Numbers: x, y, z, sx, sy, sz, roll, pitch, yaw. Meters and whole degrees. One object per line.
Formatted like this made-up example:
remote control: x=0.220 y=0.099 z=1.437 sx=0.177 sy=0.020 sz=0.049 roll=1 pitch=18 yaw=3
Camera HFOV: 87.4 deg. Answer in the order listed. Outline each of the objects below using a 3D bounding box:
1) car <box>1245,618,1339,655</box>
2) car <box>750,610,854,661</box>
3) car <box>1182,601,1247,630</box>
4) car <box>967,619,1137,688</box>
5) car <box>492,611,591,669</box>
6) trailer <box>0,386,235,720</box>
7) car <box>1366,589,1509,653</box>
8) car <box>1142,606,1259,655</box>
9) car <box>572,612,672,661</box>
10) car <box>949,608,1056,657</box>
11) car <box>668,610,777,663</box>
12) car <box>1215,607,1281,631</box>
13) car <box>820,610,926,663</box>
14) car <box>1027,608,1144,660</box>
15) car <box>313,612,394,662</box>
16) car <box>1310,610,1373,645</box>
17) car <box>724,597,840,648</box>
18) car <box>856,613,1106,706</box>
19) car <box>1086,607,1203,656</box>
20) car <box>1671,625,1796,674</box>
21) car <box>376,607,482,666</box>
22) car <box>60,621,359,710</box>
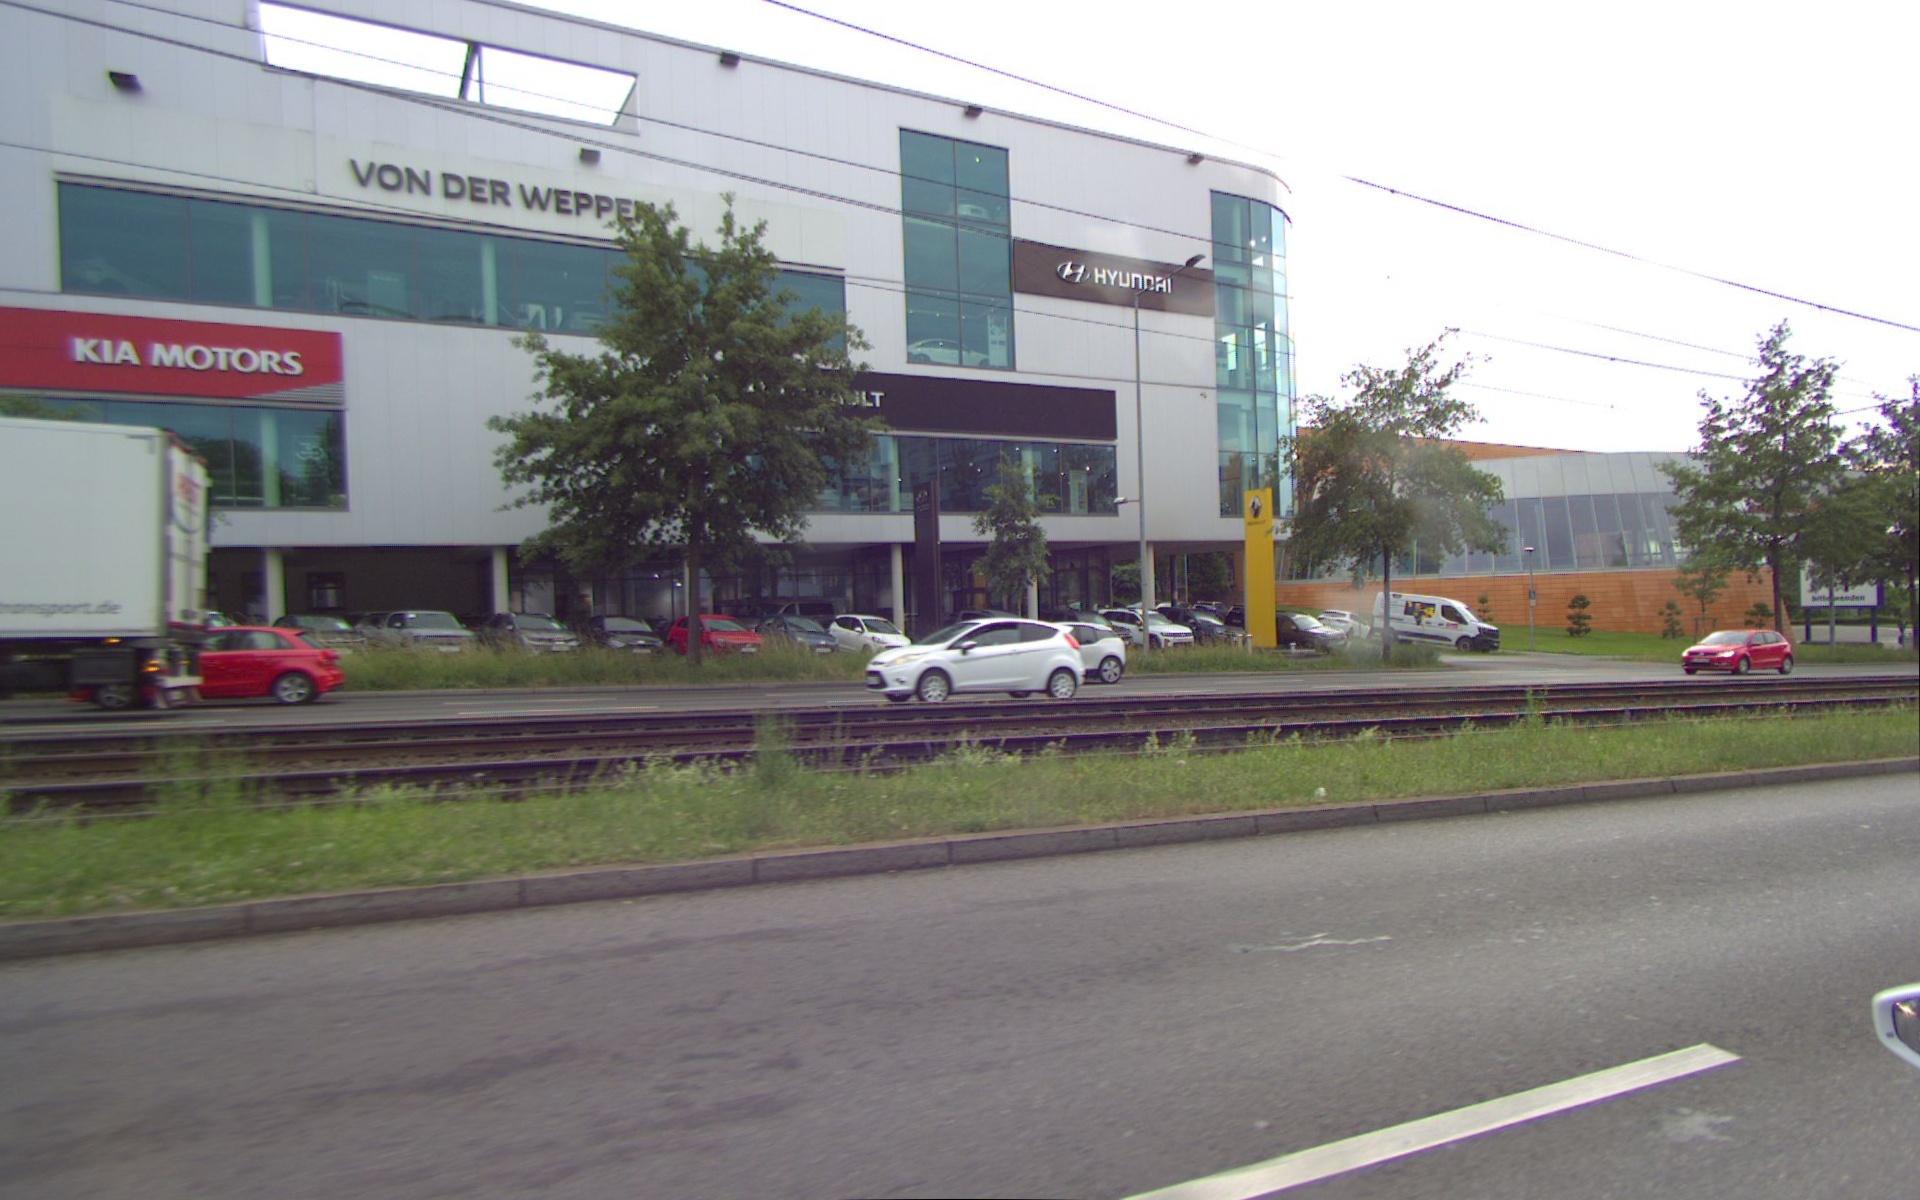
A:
car: x=13.744 y=1.474 z=41.757 sx=1.562 sy=1.409 sz=3.627 roll=0 pitch=0 yaw=-30
car: x=-5.319 y=1.130 z=33.383 sx=1.902 sy=1.370 sz=4.007 roll=1 pitch=2 yaw=-34
car: x=15.026 y=0.909 z=59.234 sx=3.974 sy=1.653 sz=1.973 roll=1 pitch=0 yaw=-45
car: x=2.368 y=1.331 z=25.677 sx=4.047 sy=1.602 sz=1.677 roll=1 pitch=0 yaw=-27
car: x=-12.270 y=1.119 z=29.353 sx=1.685 sy=1.370 sz=3.484 roll=1 pitch=2 yaw=-40
trailer: x=-17.269 y=-0.607 z=12.352 sx=13.115 sy=4.385 sz=3.122 roll=1 pitch=-4 yaw=-28
car: x=22.483 y=0.935 z=47.531 sx=2.387 sy=2.616 sz=5.556 roll=1 pitch=2 yaw=-41
car: x=9.624 y=1.192 z=40.487 sx=1.979 sy=1.637 sz=4.333 roll=1 pitch=2 yaw=-34
car: x=-10.243 y=1.056 z=30.338 sx=1.685 sy=1.198 sz=3.484 roll=1 pitch=2 yaw=-40
car: x=1.490 y=1.157 z=36.624 sx=1.912 sy=1.479 sz=3.983 roll=1 pitch=2 yaw=-34
car: x=-7.568 y=1.106 z=31.846 sx=1.785 sy=1.370 sz=3.887 roll=1 pitch=2 yaw=-40
car: x=16.506 y=1.084 z=57.493 sx=3.974 sy=1.297 sz=1.973 roll=1 pitch=0 yaw=-45
car: x=-3.037 y=1.206 z=34.383 sx=1.902 sy=1.479 sz=4.007 roll=1 pitch=2 yaw=-34
car: x=4.616 y=1.217 z=37.541 sx=1.979 sy=1.571 sz=4.333 roll=1 pitch=2 yaw=-34
car: x=-16.238 y=0.952 z=26.846 sx=1.386 sy=1.209 sz=3.131 roll=1 pitch=0 yaw=-40
car: x=19.674 y=1.390 z=51.692 sx=1.706 sy=1.688 sz=3.727 roll=1 pitch=0 yaw=44
car: x=-6.726 y=0.814 z=38.448 sx=1.964 sy=1.806 sz=4.539 roll=1 pitch=0 yaw=29
car: x=0.381 y=1.007 z=17.495 sx=4.045 sy=1.455 sz=1.679 roll=1 pitch=-2 yaw=-26
car: x=7.123 y=1.182 z=39.132 sx=1.979 sy=1.571 sz=4.333 roll=1 pitch=2 yaw=-34
car: x=25.117 y=1.595 z=32.616 sx=4.047 sy=1.533 sz=1.579 roll=1 pitch=-2 yaw=-26
car: x=-14.921 y=0.961 z=28.170 sx=1.688 sy=1.370 sz=3.478 roll=0 pitch=2 yaw=-45
car: x=-13.058 y=1.101 z=17.806 sx=3.973 sy=1.388 sz=1.677 roll=1 pitch=0 yaw=-27
